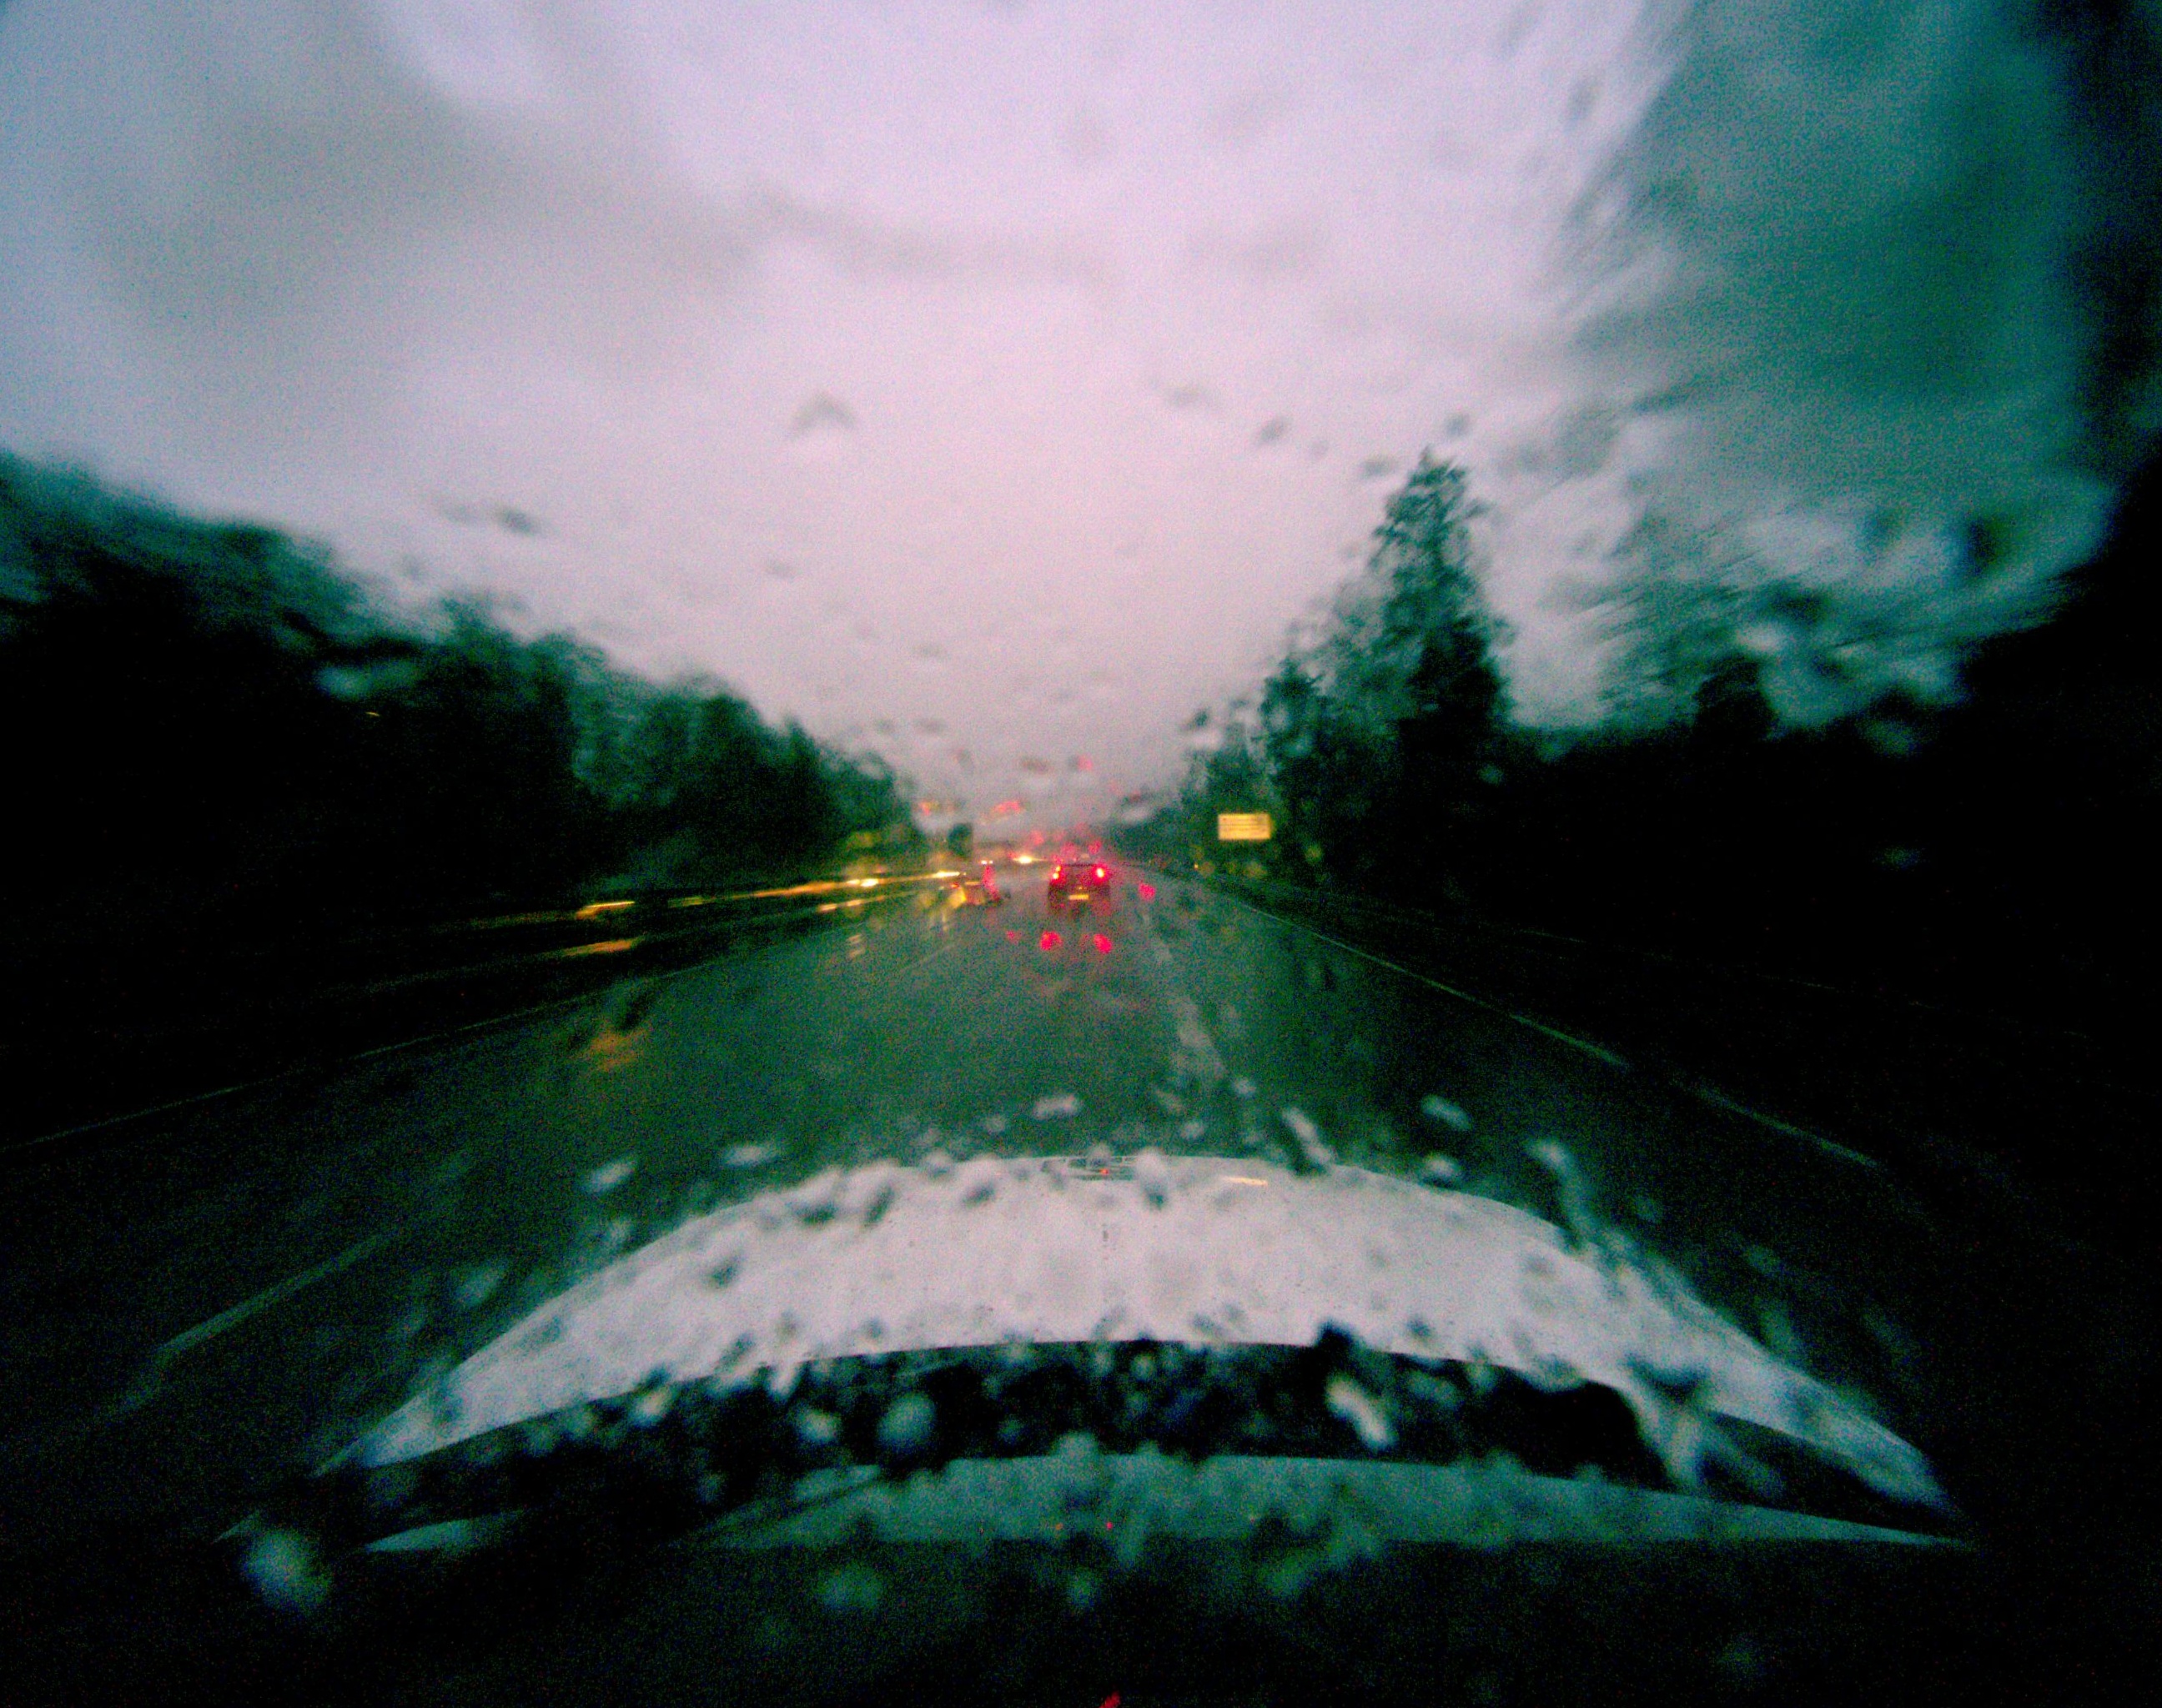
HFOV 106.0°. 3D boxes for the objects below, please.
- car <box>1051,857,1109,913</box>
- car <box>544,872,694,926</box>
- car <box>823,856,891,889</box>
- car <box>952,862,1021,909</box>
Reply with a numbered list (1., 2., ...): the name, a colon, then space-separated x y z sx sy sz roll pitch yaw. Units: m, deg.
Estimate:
1. car: 0.028 0.831 23.202 1.522 1.415 3.480 1 0 2
2. car: -13.742 1.276 24.555 1.887 1.360 4.212 1 0 4
3. car: -12.799 1.018 46.829 1.983 1.753 4.908 1 0 7
4. car: -3.432 1.110 30.500 1.769 1.534 4.705 -3 -1 3
